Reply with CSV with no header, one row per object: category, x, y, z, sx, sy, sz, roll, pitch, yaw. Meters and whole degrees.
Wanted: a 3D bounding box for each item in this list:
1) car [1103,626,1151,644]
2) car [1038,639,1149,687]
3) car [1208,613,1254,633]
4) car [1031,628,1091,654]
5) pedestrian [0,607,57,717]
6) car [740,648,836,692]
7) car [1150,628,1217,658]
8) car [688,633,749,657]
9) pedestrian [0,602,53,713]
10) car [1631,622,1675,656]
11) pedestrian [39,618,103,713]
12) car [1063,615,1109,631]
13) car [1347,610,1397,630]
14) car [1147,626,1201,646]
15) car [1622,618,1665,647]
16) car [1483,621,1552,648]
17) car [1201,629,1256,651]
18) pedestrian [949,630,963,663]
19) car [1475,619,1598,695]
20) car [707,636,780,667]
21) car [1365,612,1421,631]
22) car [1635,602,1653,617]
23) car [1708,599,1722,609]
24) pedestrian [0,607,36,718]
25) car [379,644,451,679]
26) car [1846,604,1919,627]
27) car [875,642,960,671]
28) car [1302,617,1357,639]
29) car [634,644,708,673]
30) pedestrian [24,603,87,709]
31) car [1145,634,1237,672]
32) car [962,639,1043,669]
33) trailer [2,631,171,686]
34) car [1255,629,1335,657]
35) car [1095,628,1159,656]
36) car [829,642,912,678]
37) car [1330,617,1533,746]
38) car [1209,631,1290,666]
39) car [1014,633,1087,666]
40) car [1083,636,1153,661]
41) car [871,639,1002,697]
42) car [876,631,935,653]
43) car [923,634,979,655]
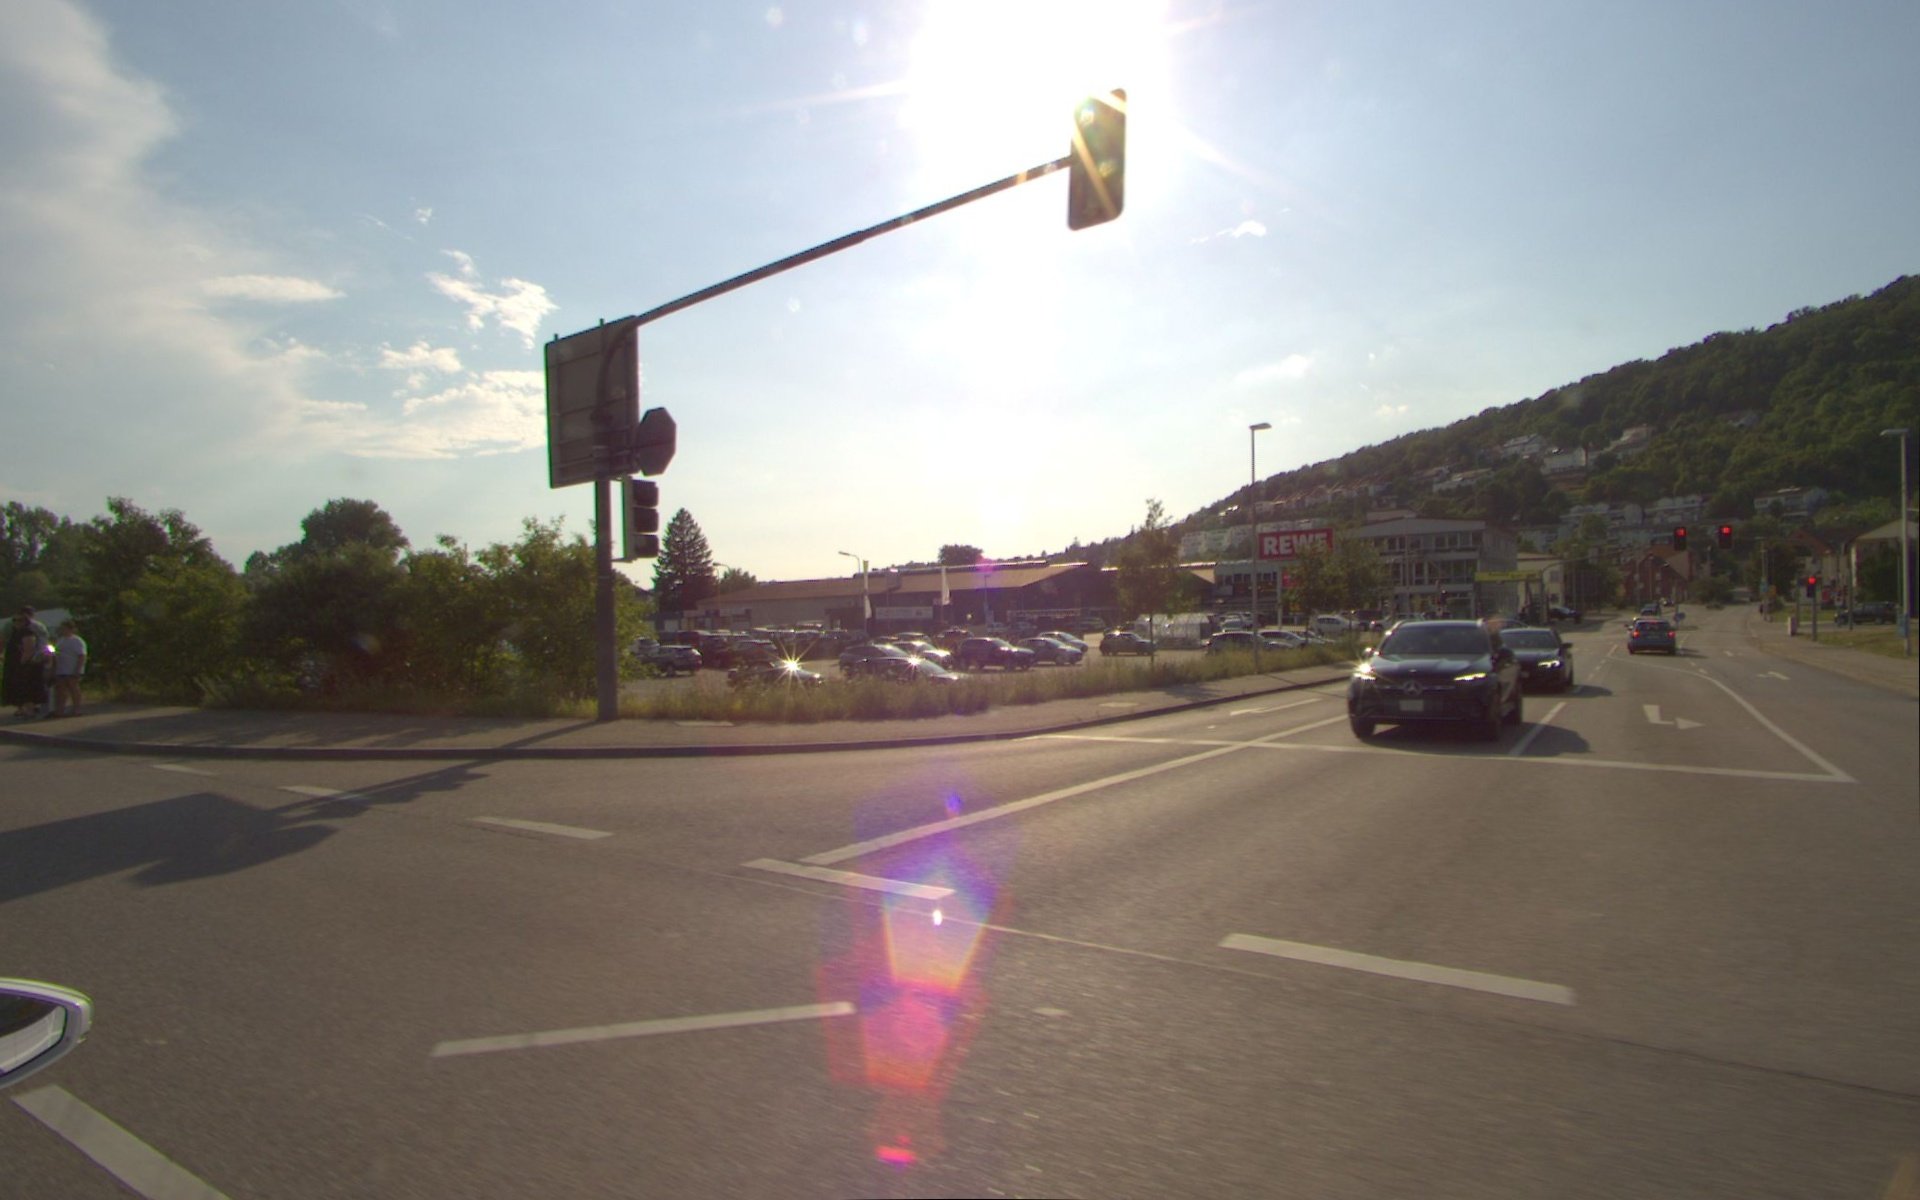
car,15.043,3.180,90.460,3.853,1.583,1.826,-2,0,35
car,4.869,2.281,36.662,3.706,1.650,1.590,-2,-2,34
car,26.282,2.249,97.140,3.943,1.772,1.990,-2,-3,32
car,6.853,2.808,68.140,3.705,1.772,1.795,-2,-2,33
pedestrian,-14.410,0.936,15.381,0.613,1.636,0.571,-1,1,27
car,-6.917,2.778,40.175,3.706,1.650,1.590,-2,-2,34
car,15.021,2.871,67.367,3.941,1.773,1.990,2,0,32
car,-15.686,2.930,64.998,3.948,1.527,1.720,-2,-3,35
pedestrian,-15.450,0.933,16.515,0.530,1.773,0.529,-1,3,37
car,31.459,1.780,45.478,1.555,1.504,3.306,-2,-3,34
pedestrian,-14.157,1.033,15.949,0.613,1.475,0.572,-1,-2,27
car,13.505,2.501,107.225,4.519,1.609,1.828,-2,0,31
car,37.395,1.833,90.905,3.943,1.772,1.990,-2,-3,32
car,18.755,3.160,87.926,4.277,1.583,1.828,-2,0,31
car,35.160,1.700,51.481,1.668,1.438,3.630,-2,-3,37
car,37.882,2.379,68.137,3.933,1.749,1.603,-1,-2,23
car,21.344,3.193,79.643,3.942,1.749,1.653,-2,-2,31
pedestrian,-0.166,2.050,44.273,0.375,1.477,0.564,1,-2,-32
car,13.539,1.305,23.414,1.676,1.616,3.967,-2,-3,42
car,-12.914,3.034,59.722,4.070,1.725,1.828,-2,0,31
car,35.585,1.772,82.351,3.949,1.438,1.838,-2,-3,37
car,83.631,1.170,122.433,1.709,1.694,3.598,-2,-3,36
car,115.112,0.649,152.691,1.566,1.414,3.362,-2,-3,34
pedestrian,-15.025,0.978,15.717,0.613,1.699,0.572,-1,-2,27
car,-24.447,2.725,44.857,3.540,1.503,1.524,-2,-2,37
car,70.591,1.220,76.665,3.950,1.690,1.818,-2,-3,38
car,-2.377,3.102,55.561,4.474,1.526,1.898,-2,-3,35
car,30.657,2.323,83.145,3.943,1.772,1.990,-2,-3,32
car,-15.714,3.186,54.438,3.943,1.527,1.722,-2,-3,32
pedestrian,-14.739,0.908,16.322,0.613,1.699,0.572,-1,-2,27
car,10.343,2.369,44.870,3.706,1.650,1.590,-2,-2,34
car,2.197,2.797,52.200,3.943,1.527,1.722,-2,-3,32
trailer,-57.237,3.777,65.813,3.316,3.364,7.856,-2,-3,36
car,18.806,2.409,56.284,3.943,1.527,1.722,-2,-3,32
car,10.817,2.720,65.083,3.705,1.772,1.795,-2,-2,33
car,-4.208,2.805,47.040,3.706,1.650,1.590,-2,-2,34
car,7.118,1.112,14.851,1.974,1.605,4.444,-2,-3,35
car,15.167,2.559,52.459,3.706,1.772,1.795,-2,-2,34
car,5.076,2.778,56.328,3.705,1.772,1.795,-2,-2,33
car,9.840,3.005,62.308,3.943,1.527,1.722,-2,-3,32
car,-0.741,2.021,30.106,3.706,1.650,1.590,-2,-2,34
car,-3.942,3.021,72.090,3.943,1.527,1.722,-2,-3,32
car,-0.665,3.328,75.882,3.943,1.527,1.722,-1,-2,32
